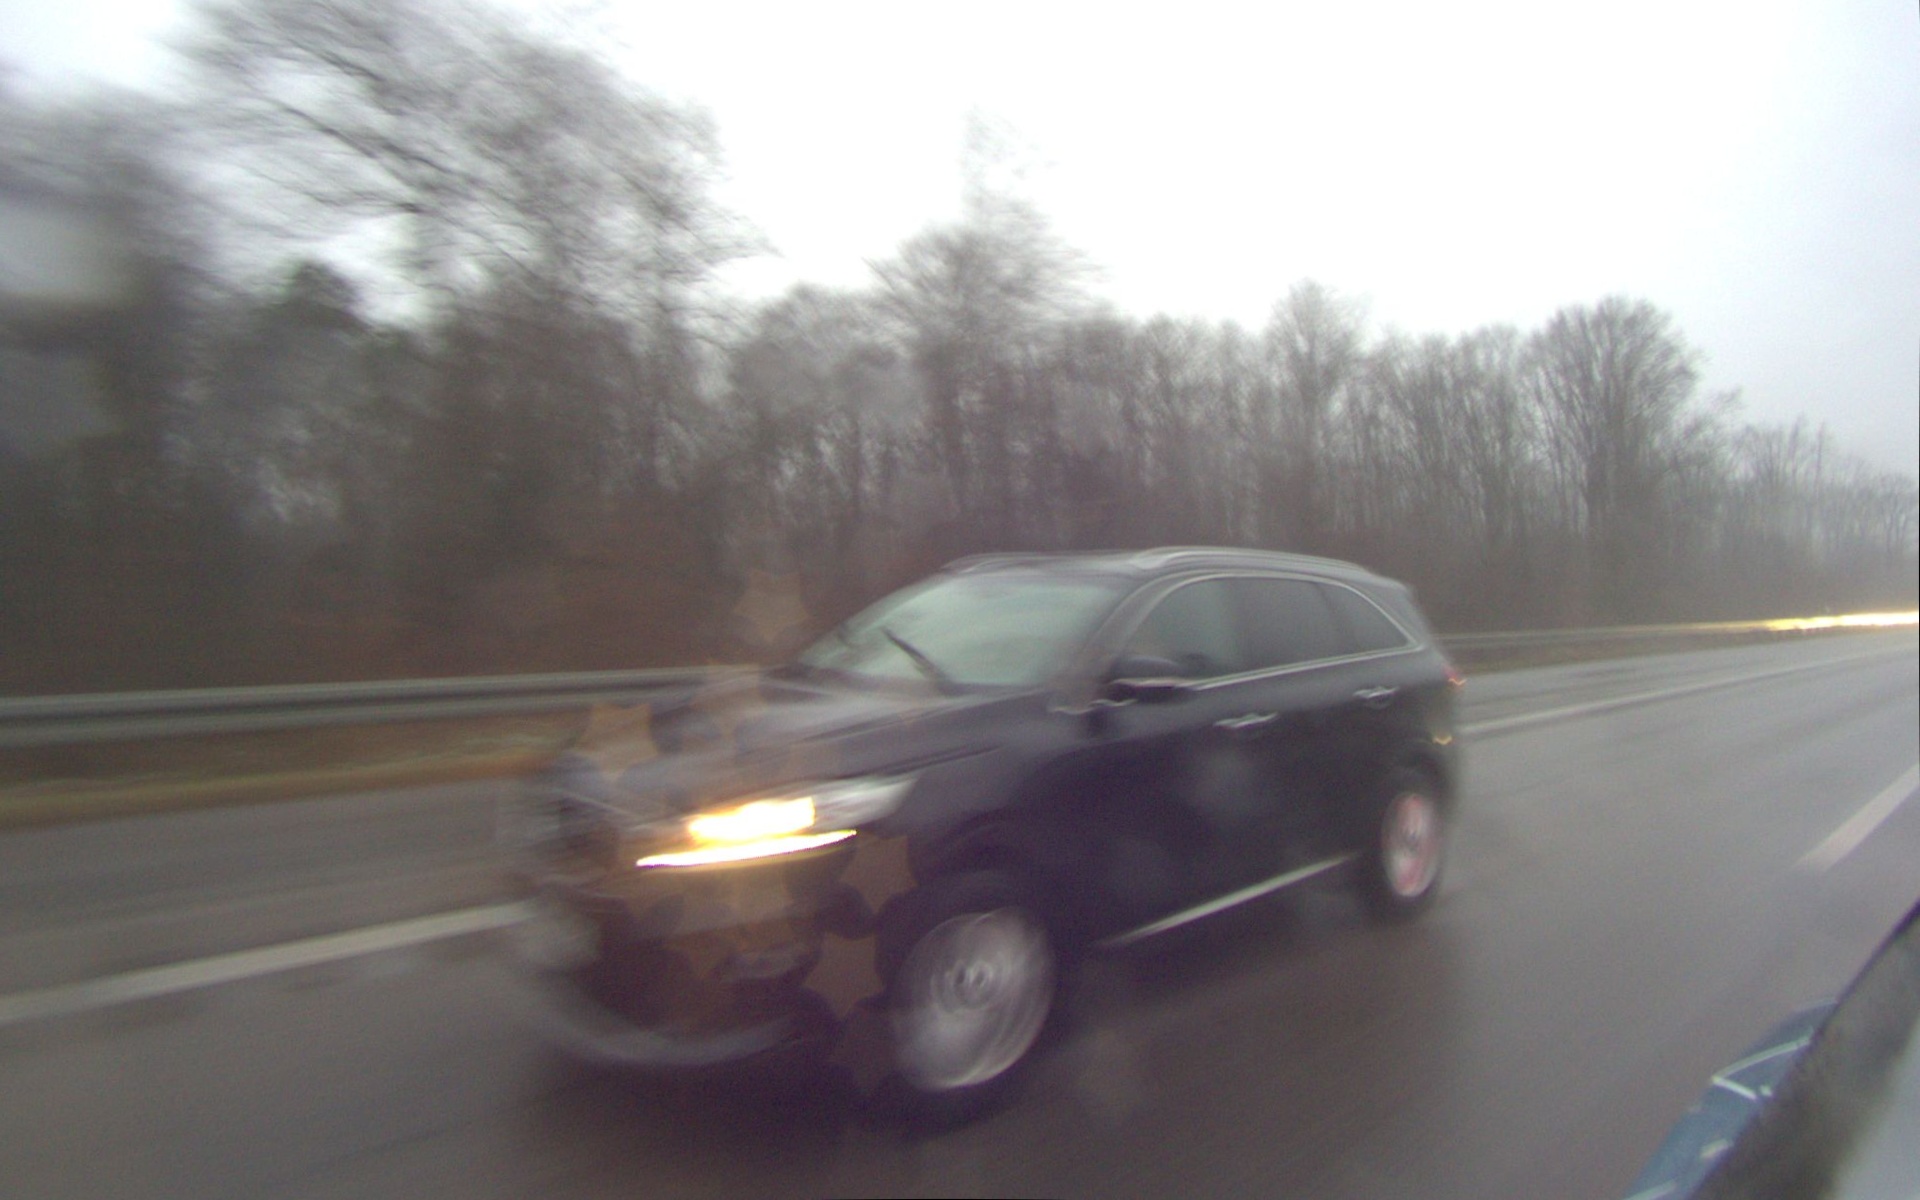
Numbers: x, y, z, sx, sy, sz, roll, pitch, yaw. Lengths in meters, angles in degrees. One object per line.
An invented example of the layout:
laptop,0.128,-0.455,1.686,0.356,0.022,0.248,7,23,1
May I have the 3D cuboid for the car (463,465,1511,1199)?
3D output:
car,0.474,0.553,4.432,4.384,1.719,2.073,0,0,-42
